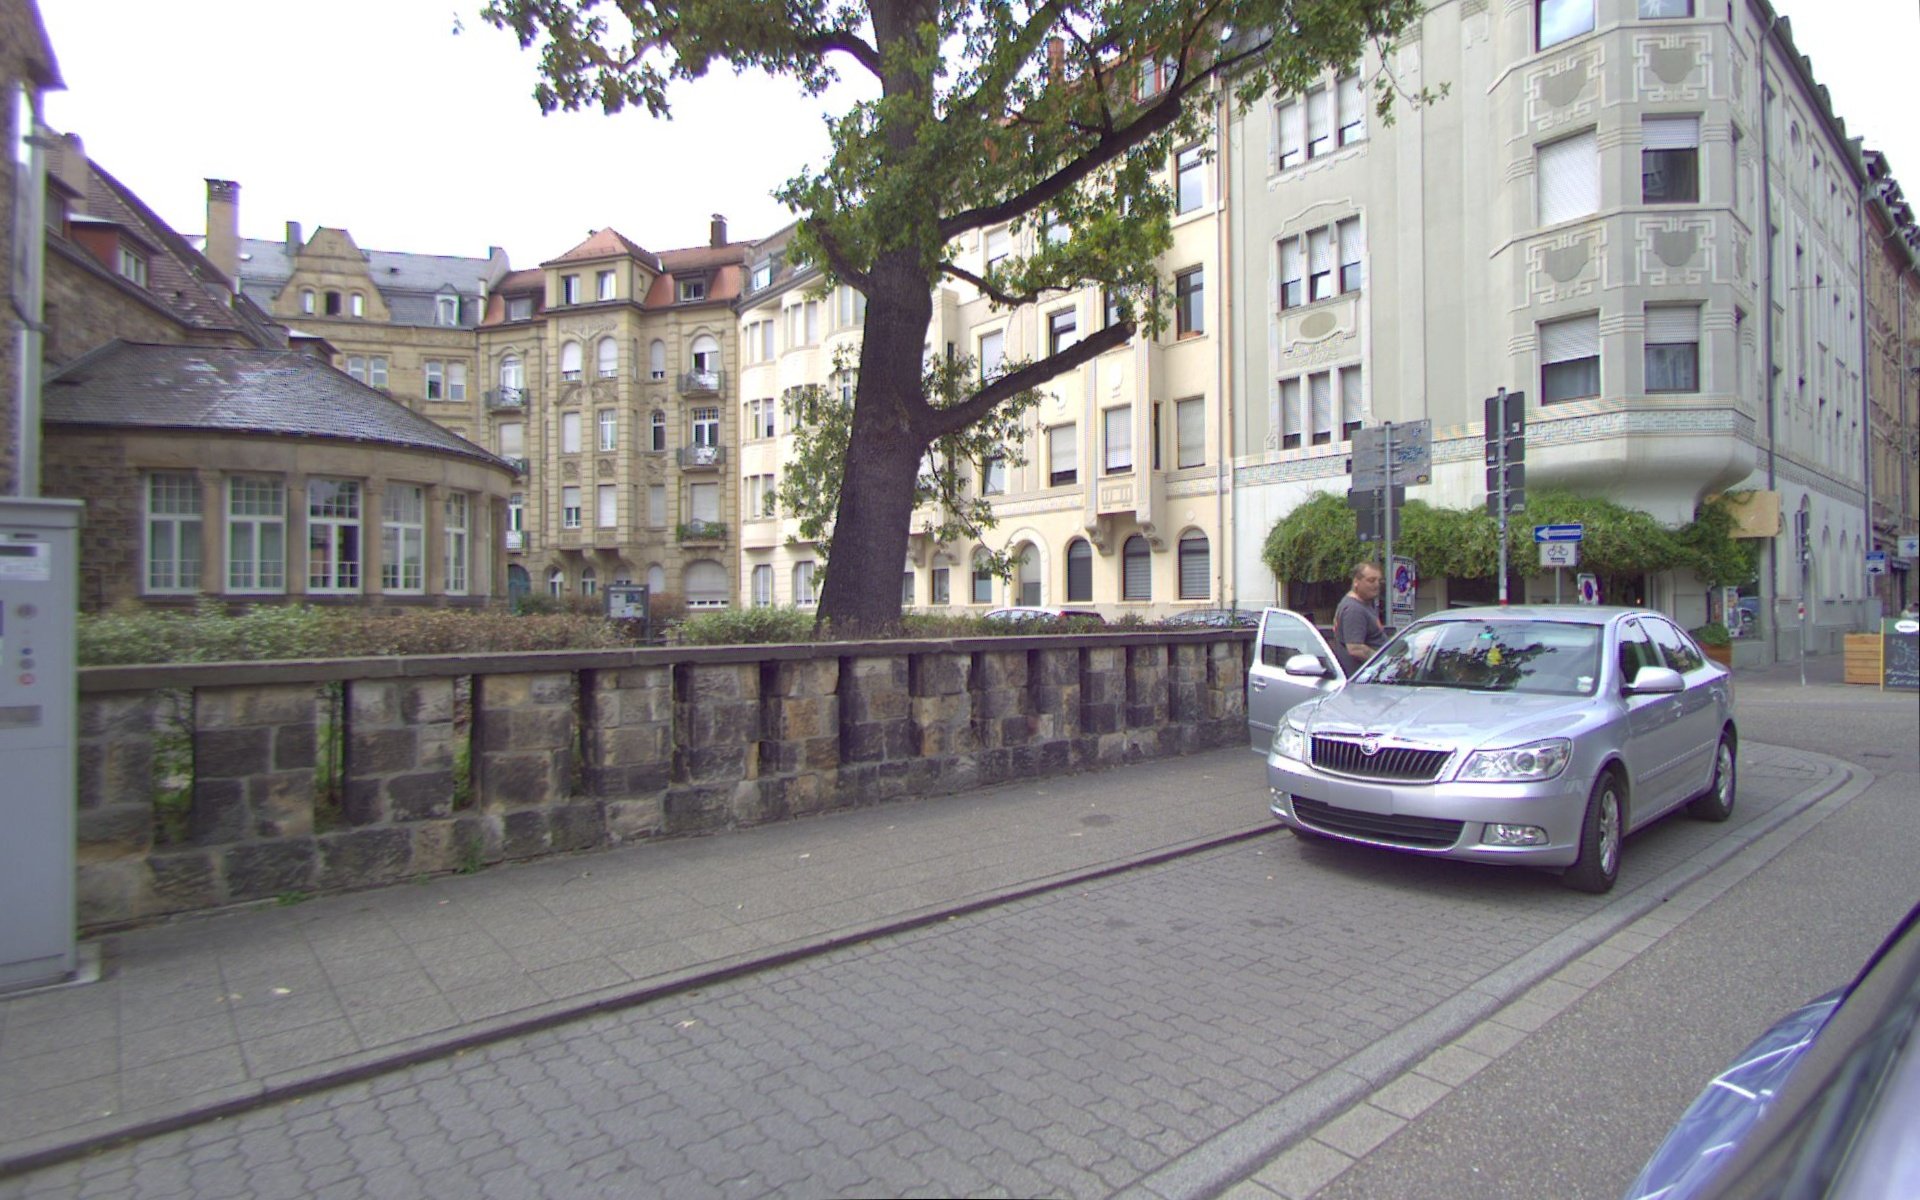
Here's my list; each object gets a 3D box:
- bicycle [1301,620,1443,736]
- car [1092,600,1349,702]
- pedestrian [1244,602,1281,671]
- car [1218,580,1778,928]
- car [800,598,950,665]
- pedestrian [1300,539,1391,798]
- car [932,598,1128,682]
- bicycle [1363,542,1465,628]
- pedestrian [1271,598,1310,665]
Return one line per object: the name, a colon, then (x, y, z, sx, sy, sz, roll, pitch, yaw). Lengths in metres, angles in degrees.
bicycle: (4.376, 0.774, 10.686, 1.943, 1.119, 0.523, 1, -1, -40)
car: (4.238, 0.768, 17.074, 1.871, 1.488, 4.039, 0, 0, -31)
pedestrian: (6.692, 0.802, 22.410, 0.550, 1.488, 0.548, 0, -1, -39)
car: (3.636, 0.660, 6.439, 4.342, 1.487, 1.757, 0, 0, -42)
car: (-2.215, 0.773, 25.524, 1.813, 1.555, 4.033, 4, -3, -38)
pedestrian: (2.731, 0.465, 7.177, 0.403, 1.757, 0.468, 0, -1, -41)
car: (1.353, 0.796, 20.960, 1.813, 1.555, 4.033, 4, -3, -38)
bicycle: (6.109, -0.172, 13.574, 1.787, 1.064, 0.523, 2, -2, -40)
pedestrian: (7.617, 0.720, 23.311, 0.624, 1.477, 0.548, -4, 2, -39)
